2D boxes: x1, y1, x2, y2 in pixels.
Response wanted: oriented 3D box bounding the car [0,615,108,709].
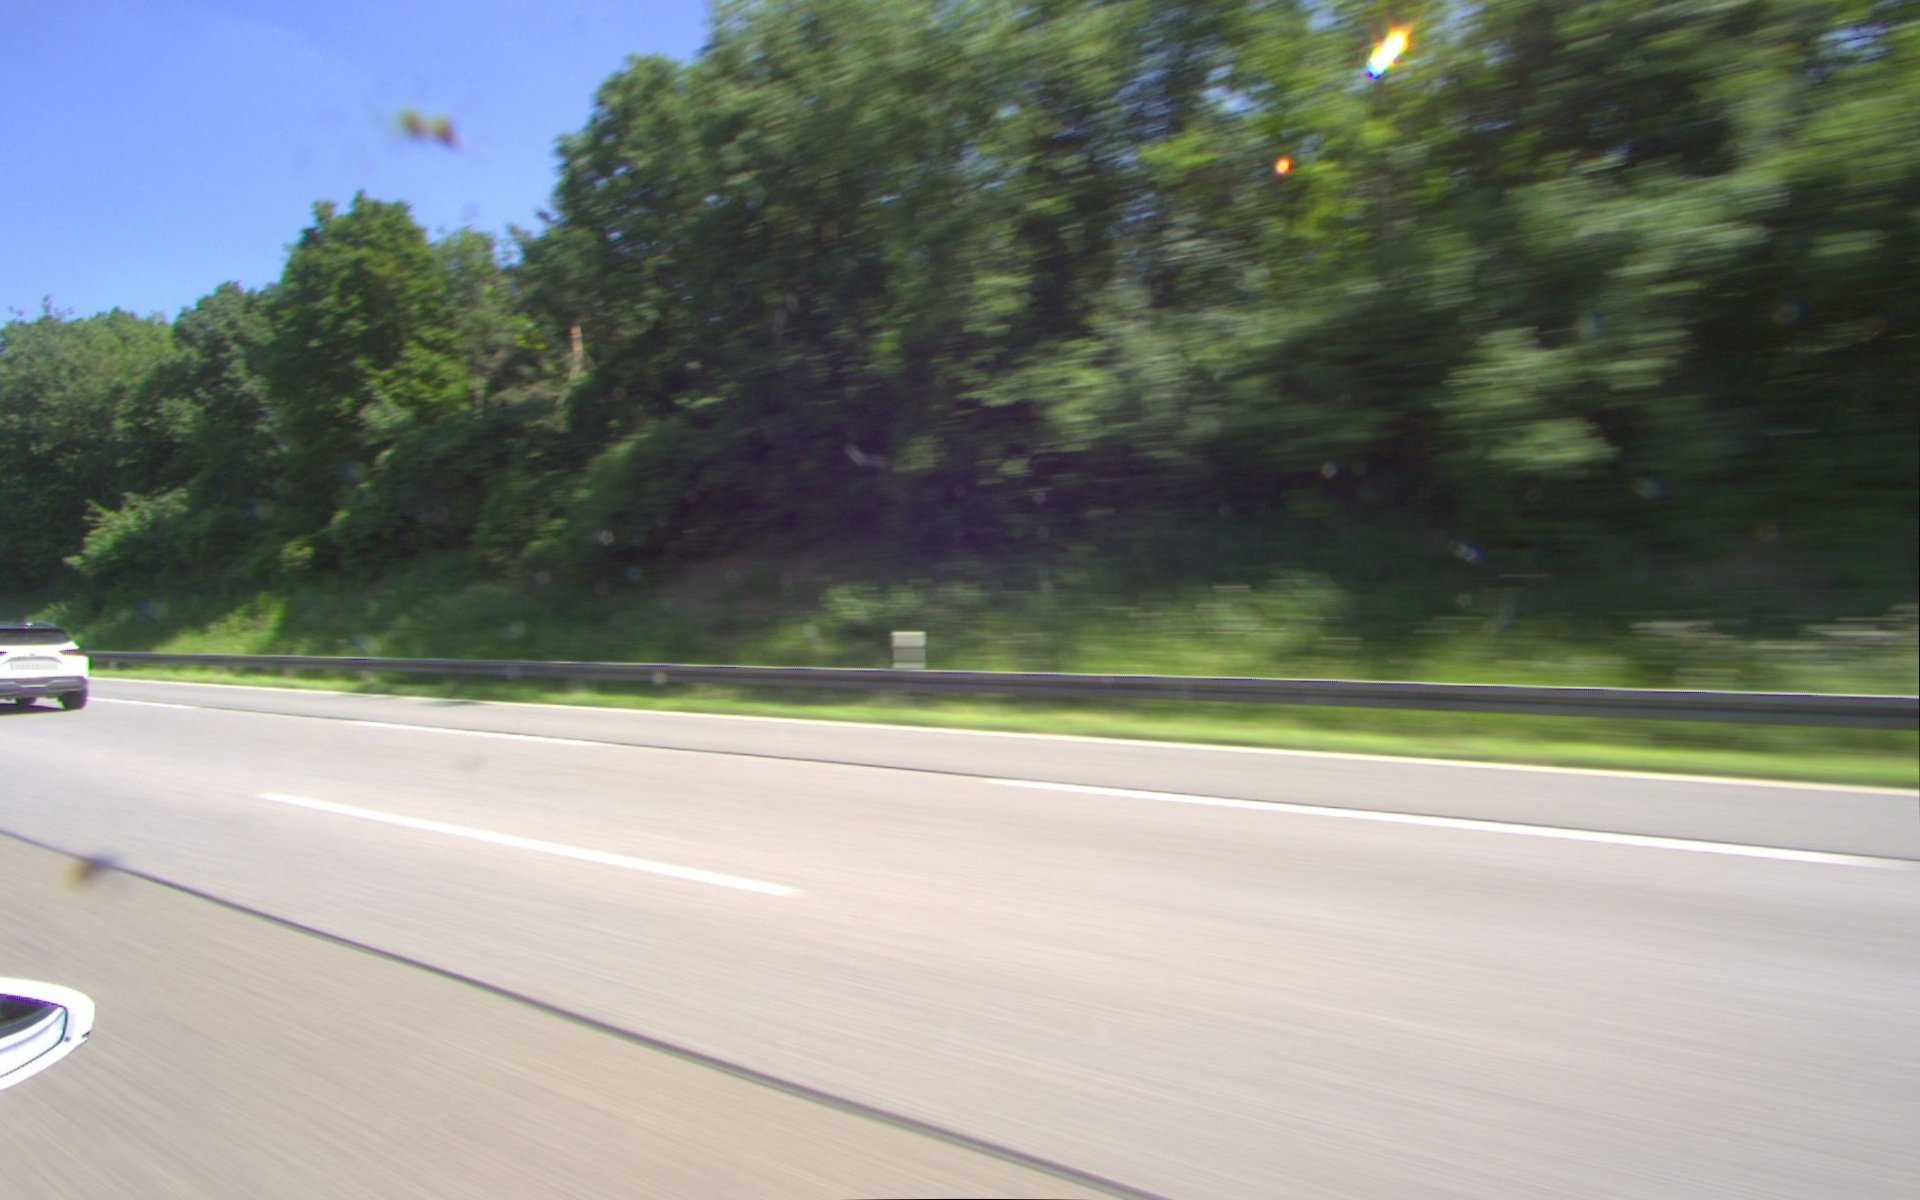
[{"bbox_3d":[-17.692,1.093,18.525,3.978,1.588,1.840,-1,-2,32],"label":"car"}]
